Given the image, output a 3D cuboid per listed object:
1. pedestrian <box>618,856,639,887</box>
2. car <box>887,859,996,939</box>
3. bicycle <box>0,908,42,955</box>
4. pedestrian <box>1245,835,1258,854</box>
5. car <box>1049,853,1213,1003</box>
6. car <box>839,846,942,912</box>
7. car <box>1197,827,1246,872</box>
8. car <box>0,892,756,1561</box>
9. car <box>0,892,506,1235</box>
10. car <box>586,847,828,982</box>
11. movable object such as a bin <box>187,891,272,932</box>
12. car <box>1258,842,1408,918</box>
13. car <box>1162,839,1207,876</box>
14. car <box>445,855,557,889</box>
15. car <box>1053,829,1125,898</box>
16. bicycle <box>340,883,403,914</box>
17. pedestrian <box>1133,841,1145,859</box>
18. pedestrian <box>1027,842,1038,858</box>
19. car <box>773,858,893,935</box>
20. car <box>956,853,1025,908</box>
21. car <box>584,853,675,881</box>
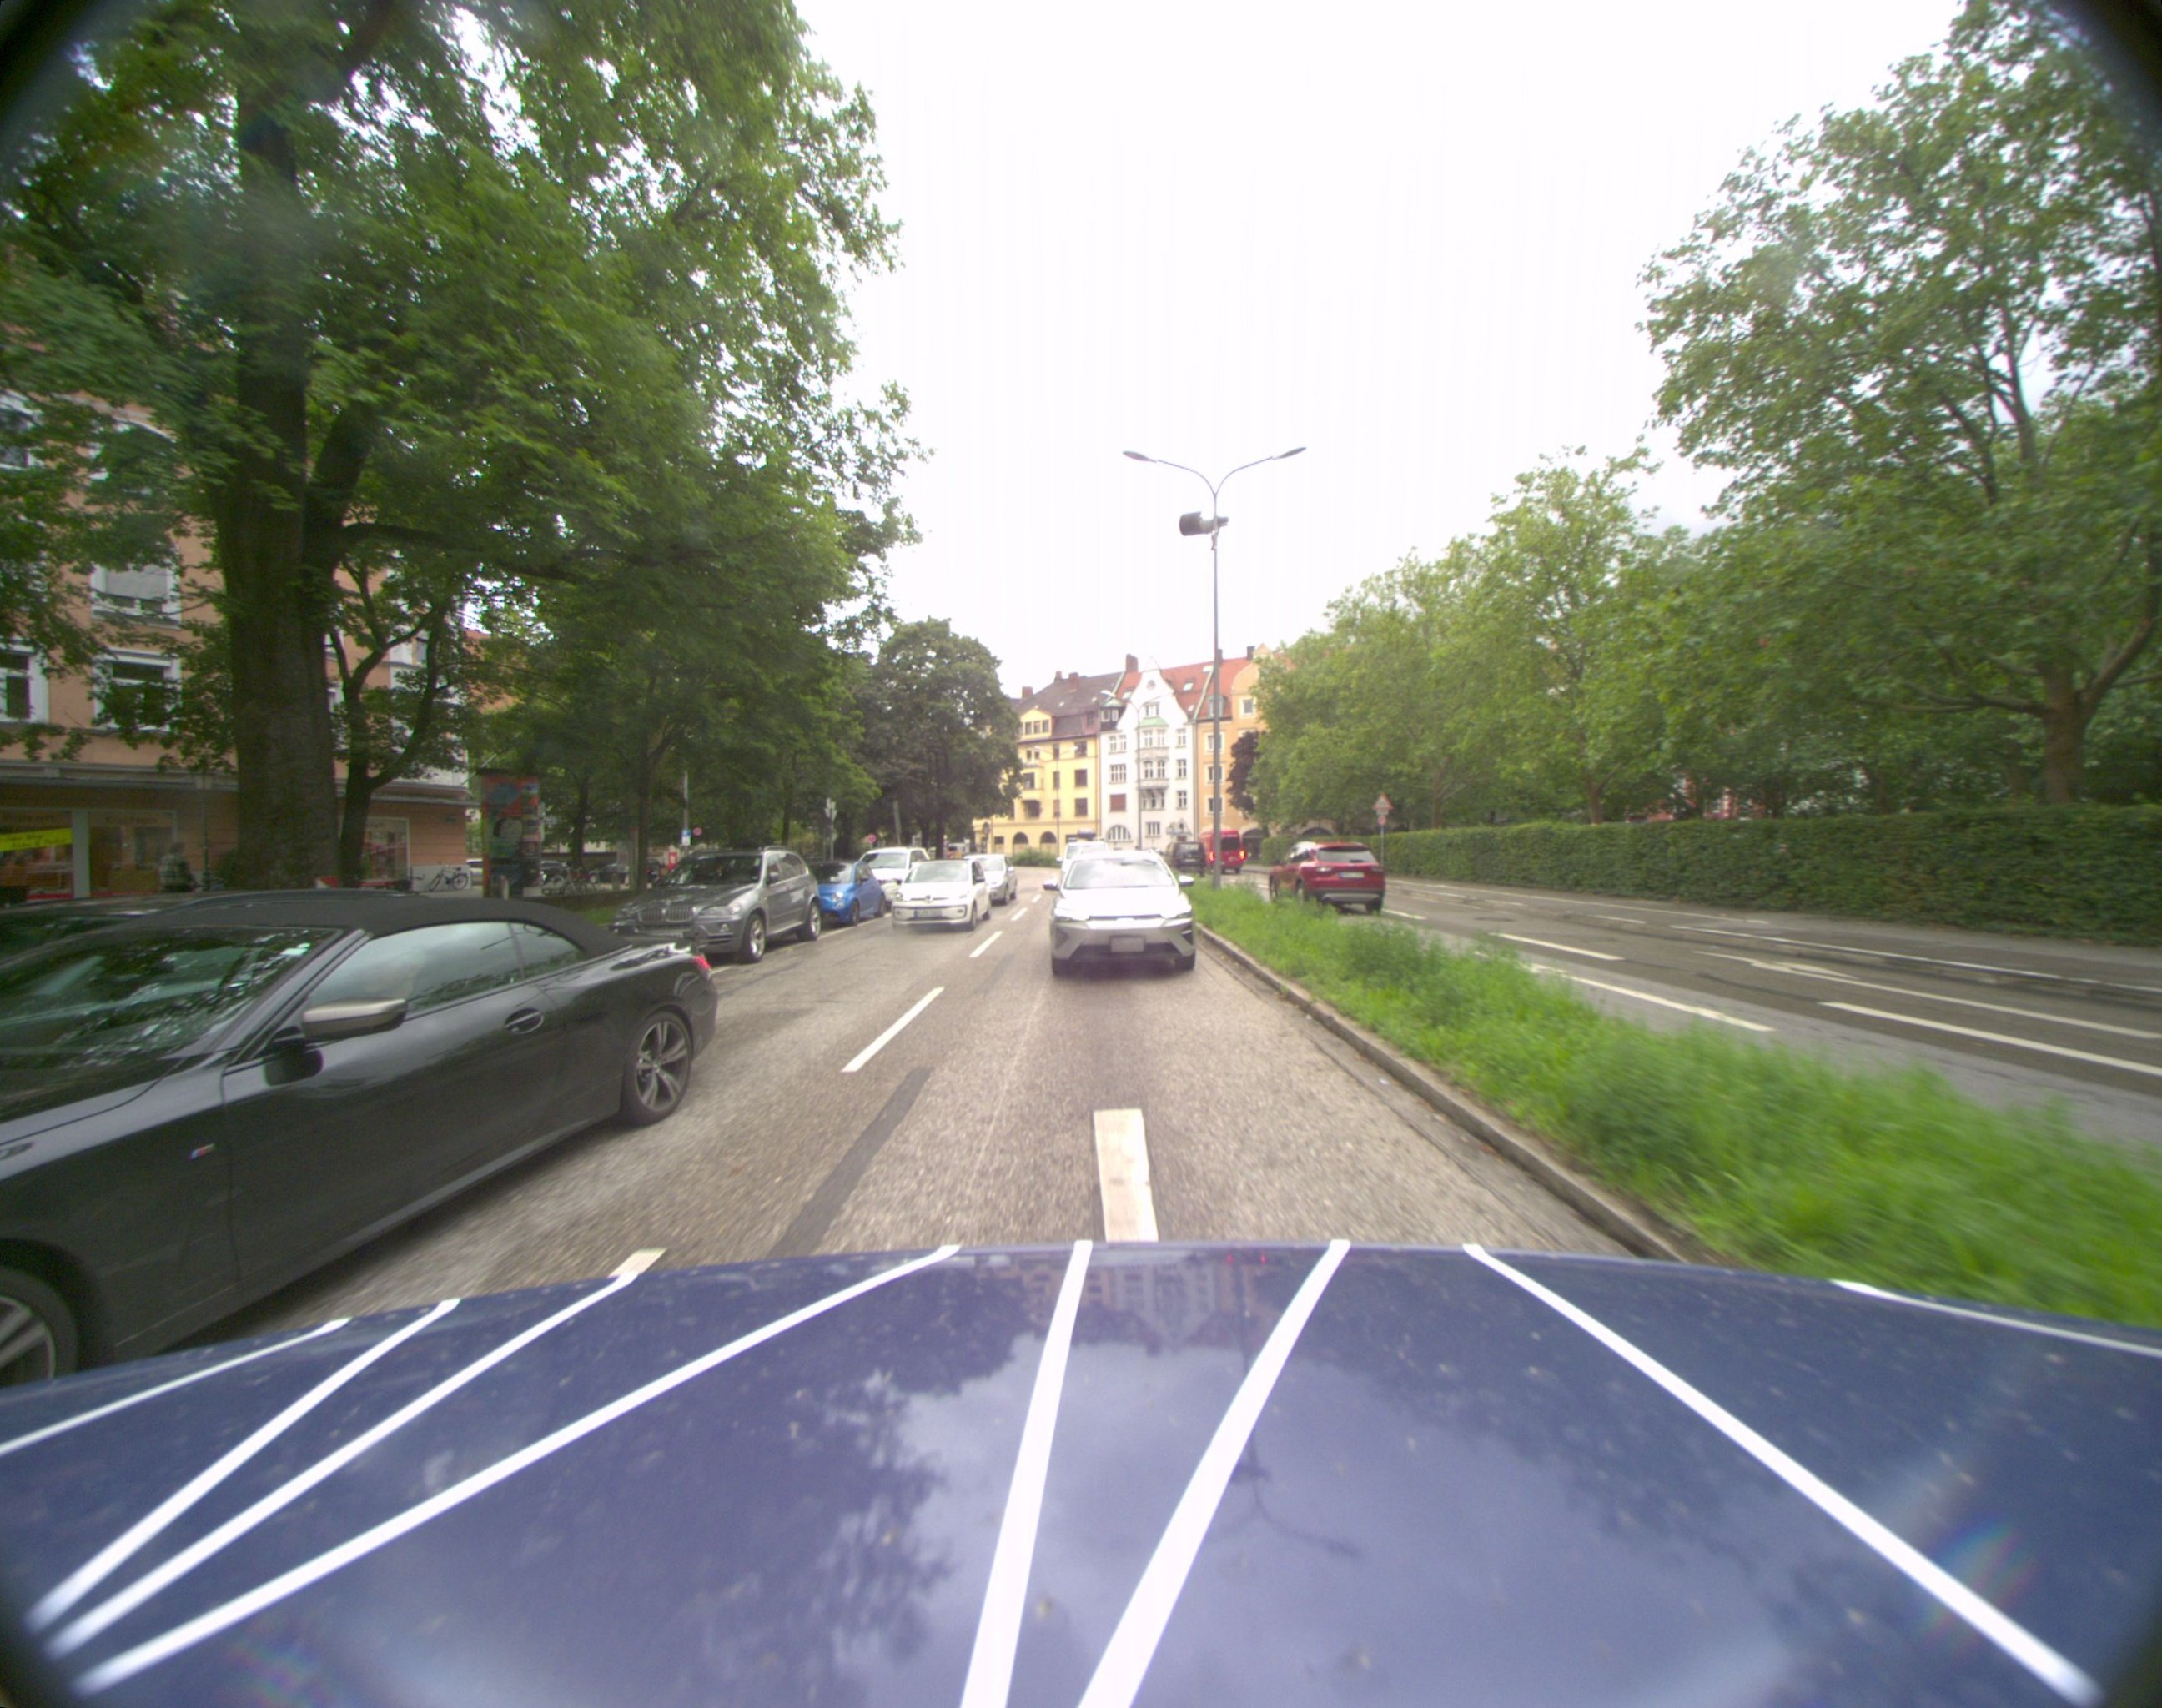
[{"bbox_3d":[-23.463,0.893,39.402,0.602,1.543,0.644,-2,2,7],"label":"pedestrian"},{"bbox_3d":[-2.861,0.869,16.285,1.648,1.457,3.619,-1,1,0],"label":"car"},{"bbox_3d":[-17.668,1.269,12.583,1.176,0.719,0.319,-2,2,27],"label":"bicycle"},{"bbox_3d":[18.454,-1.064,82.269,1.005,2.002,0.880,-1,2,32],"label":"pedestrian"},{"bbox_3d":[0.531,0.772,9.915,1.710,1.521,3.886,-1,1,0],"label":"car"},{"bbox_3d":[-5.801,0.674,23.779,1.848,1.845,5.023,-1,1,1],"label":"car"},{"bbox_3d":[8.500,-0.251,46.568,2.108,2.574,6.082,0,0,2],"label":"car"},{"bbox_3d":[-3.393,1.001,3.240,1.728,1.381,4.799,-1,1,3],"label":"car"},{"bbox_3d":[-6.088,1.102,4.556,1.772,1.452,4.641,-1,1,-1],"label":"car"},{"bbox_3d":[-5.820,0.801,12.586,1.937,1.809,4.552,-1,1,-3],"label":"car"},{"bbox_3d":[-19.641,1.322,17.543,1.179,0.867,0.774,0,1,9],"label":"movable object such as a bin"},{"bbox_3d":[6.012,0.575,18.842,2.108,1.628,4.939,0,0,0],"label":"car"},{"bbox_3d":[5.714,0.160,42.394,1.862,1.979,4.704,-1,1,0],"label":"car"},{"bbox_3d":[-28.949,0.889,37.971,4.436,1.458,1.862,-2,2,10],"label":"car"},{"bbox_3d":[0.406,0.298,28.028,1.911,2.337,4.948,0,1,10],"label":"car"},{"bbox_3d":[-18.814,1.175,20.158,0.318,0.719,1.181,-1,2,45],"label":"bicycle"},{"bbox_3d":[6.770,-0.477,88.273,1.005,2.002,0.880,-1,2,32],"label":"pedestrian"},{"bbox_3d":[-6.227,-0.564,96.775,1.005,2.002,0.880,-1,2,33],"label":"pedestrian"},{"bbox_3d":[-5.684,0.909,17.836,1.523,1.540,3.662,-1,1,1],"label":"car"},{"bbox_3d":[-2.699,0.755,23.475,1.648,1.521,3.886,-1,1,0],"label":"car"},{"bbox_3d":[-26.696,0.761,44.955,4.436,1.458,1.862,-2,2,10],"label":"car"}]
